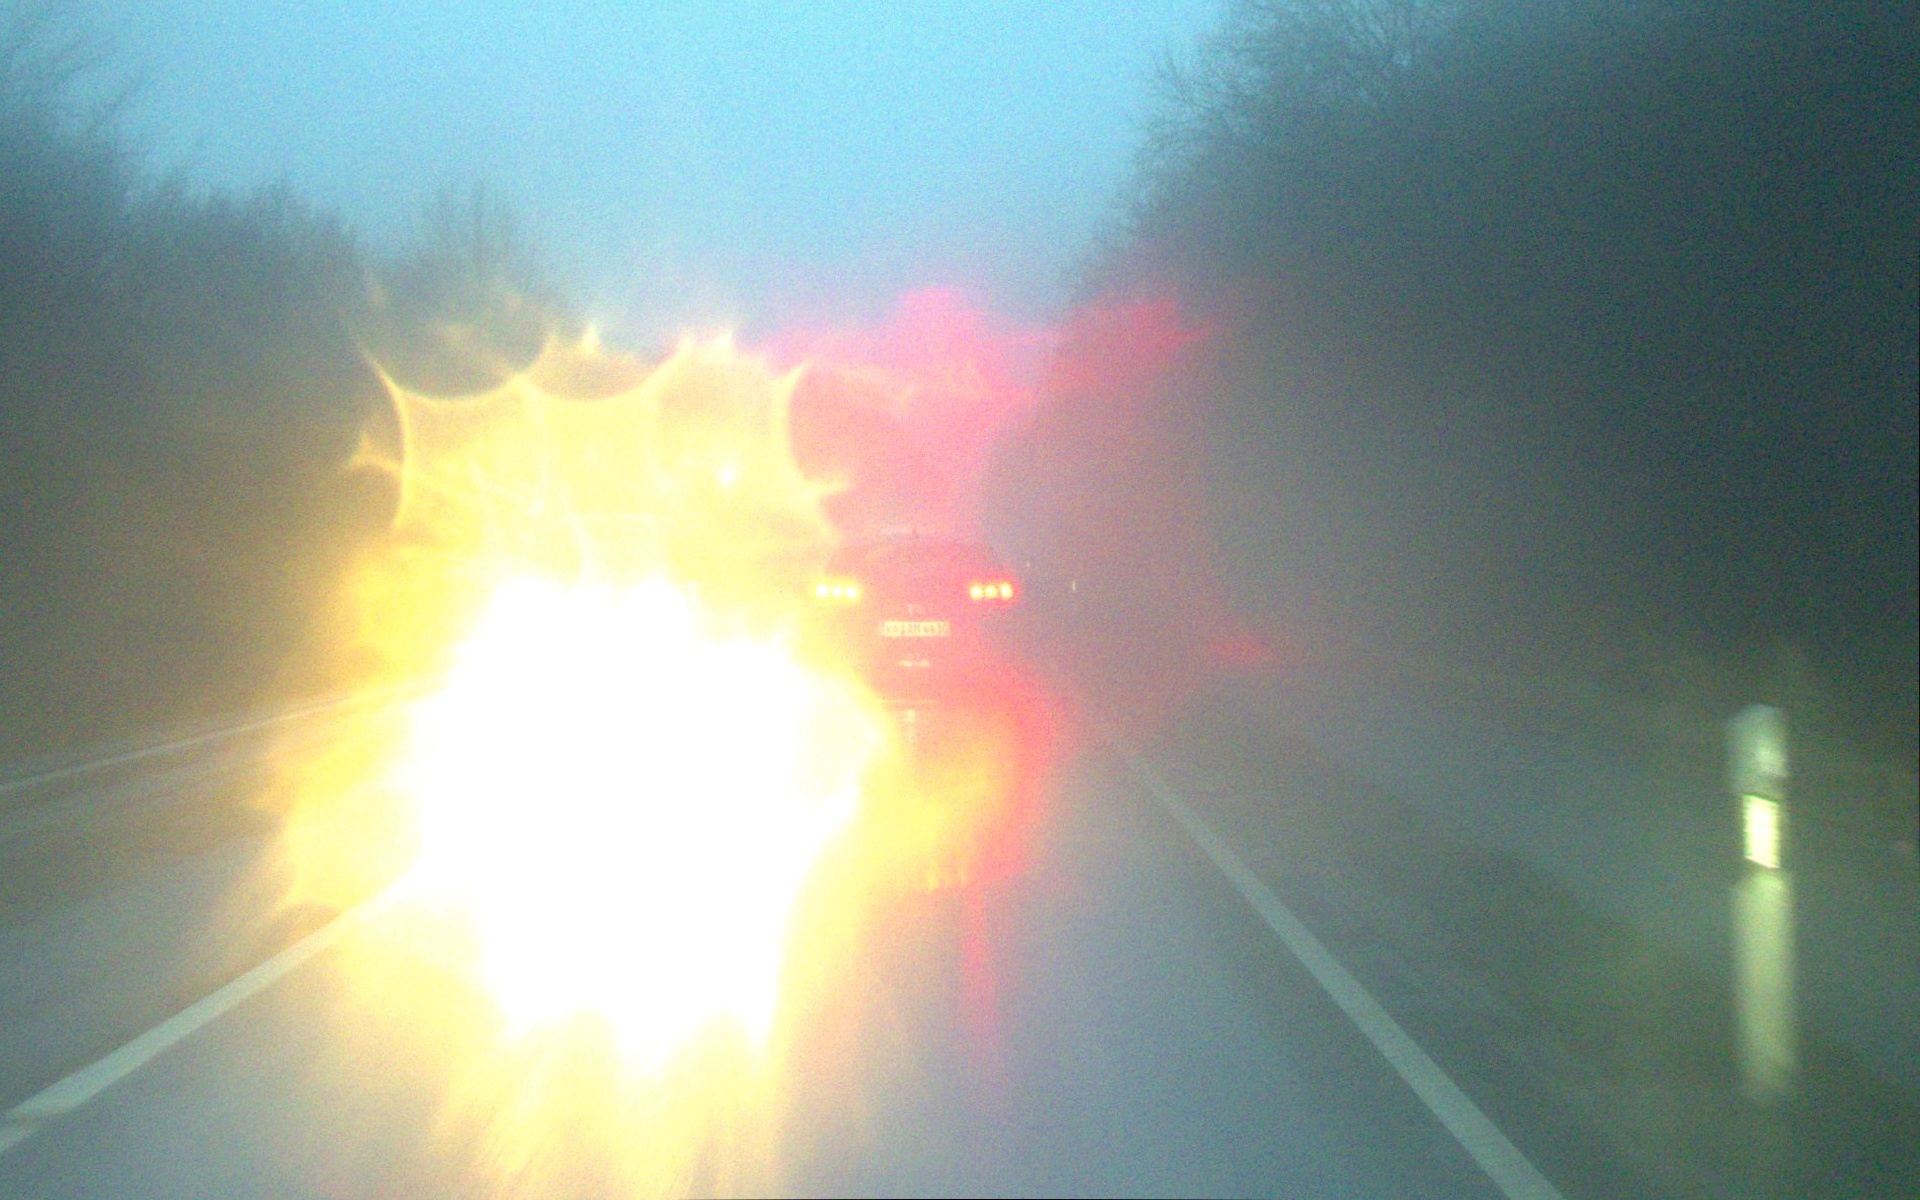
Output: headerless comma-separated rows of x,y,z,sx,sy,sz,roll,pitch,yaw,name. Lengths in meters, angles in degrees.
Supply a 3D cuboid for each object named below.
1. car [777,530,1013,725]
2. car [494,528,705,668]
-0.474,0.165,26.577,1.678,1.385,4.098,0,1,0,car
-3.857,-0.053,37.365,1.814,1.433,4.098,0,1,1,car
